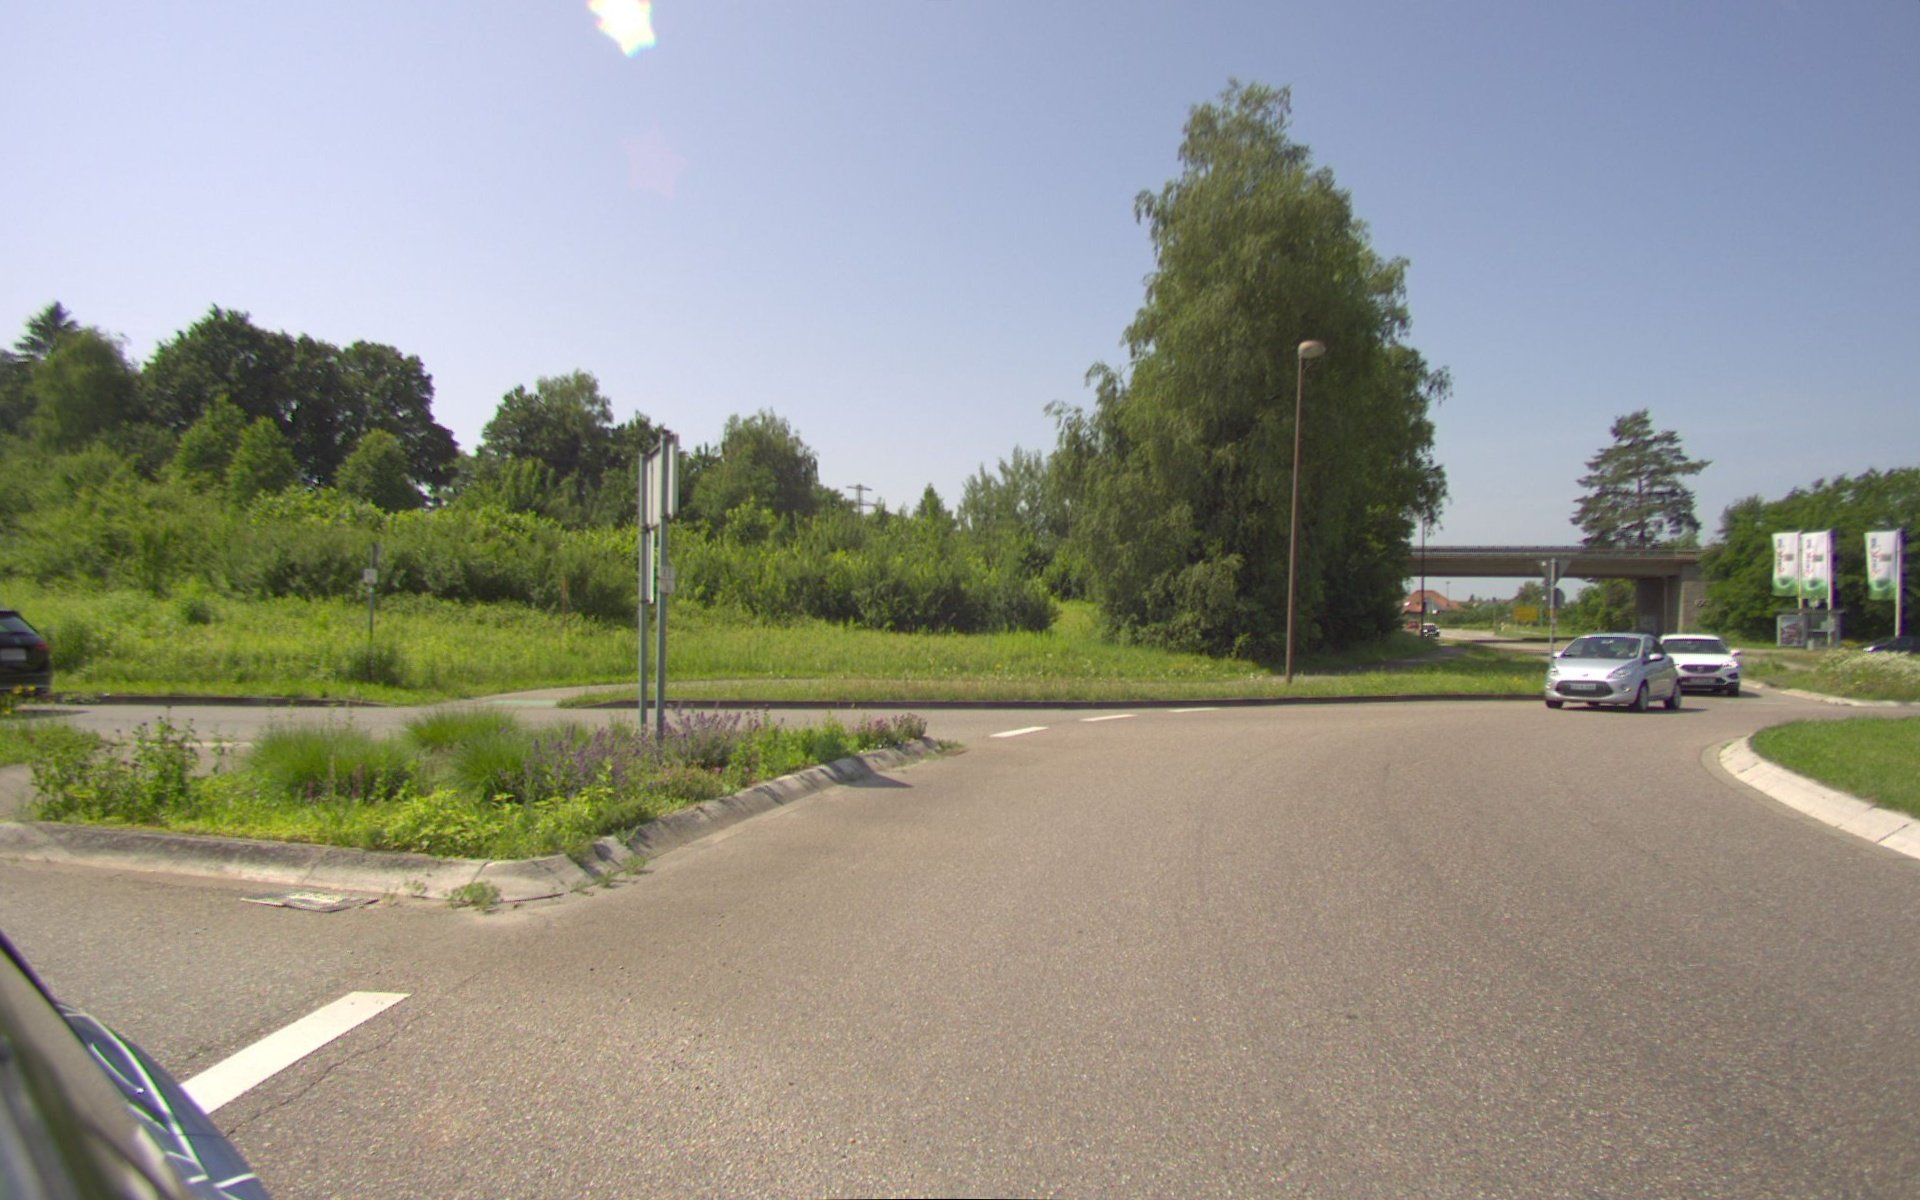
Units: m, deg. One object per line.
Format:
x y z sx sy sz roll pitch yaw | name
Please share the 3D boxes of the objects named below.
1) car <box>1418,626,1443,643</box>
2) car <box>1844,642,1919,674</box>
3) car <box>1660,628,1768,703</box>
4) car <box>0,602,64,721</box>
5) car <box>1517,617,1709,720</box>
50.775 3.699 109.275 2.014 1.664 4.608 1 1 20 | car
54.650 3.377 58.661 4.601 1.664 2.017 1 1 18 | car
20.881 1.724 28.043 2.194 1.664 5.057 2 1 37 | car
-14.515 0.758 13.029 4.147 1.542 1.760 1 -3 -7 | car
12.863 1.229 19.850 4.135 1.628 2.132 -2 1 -42 | car
